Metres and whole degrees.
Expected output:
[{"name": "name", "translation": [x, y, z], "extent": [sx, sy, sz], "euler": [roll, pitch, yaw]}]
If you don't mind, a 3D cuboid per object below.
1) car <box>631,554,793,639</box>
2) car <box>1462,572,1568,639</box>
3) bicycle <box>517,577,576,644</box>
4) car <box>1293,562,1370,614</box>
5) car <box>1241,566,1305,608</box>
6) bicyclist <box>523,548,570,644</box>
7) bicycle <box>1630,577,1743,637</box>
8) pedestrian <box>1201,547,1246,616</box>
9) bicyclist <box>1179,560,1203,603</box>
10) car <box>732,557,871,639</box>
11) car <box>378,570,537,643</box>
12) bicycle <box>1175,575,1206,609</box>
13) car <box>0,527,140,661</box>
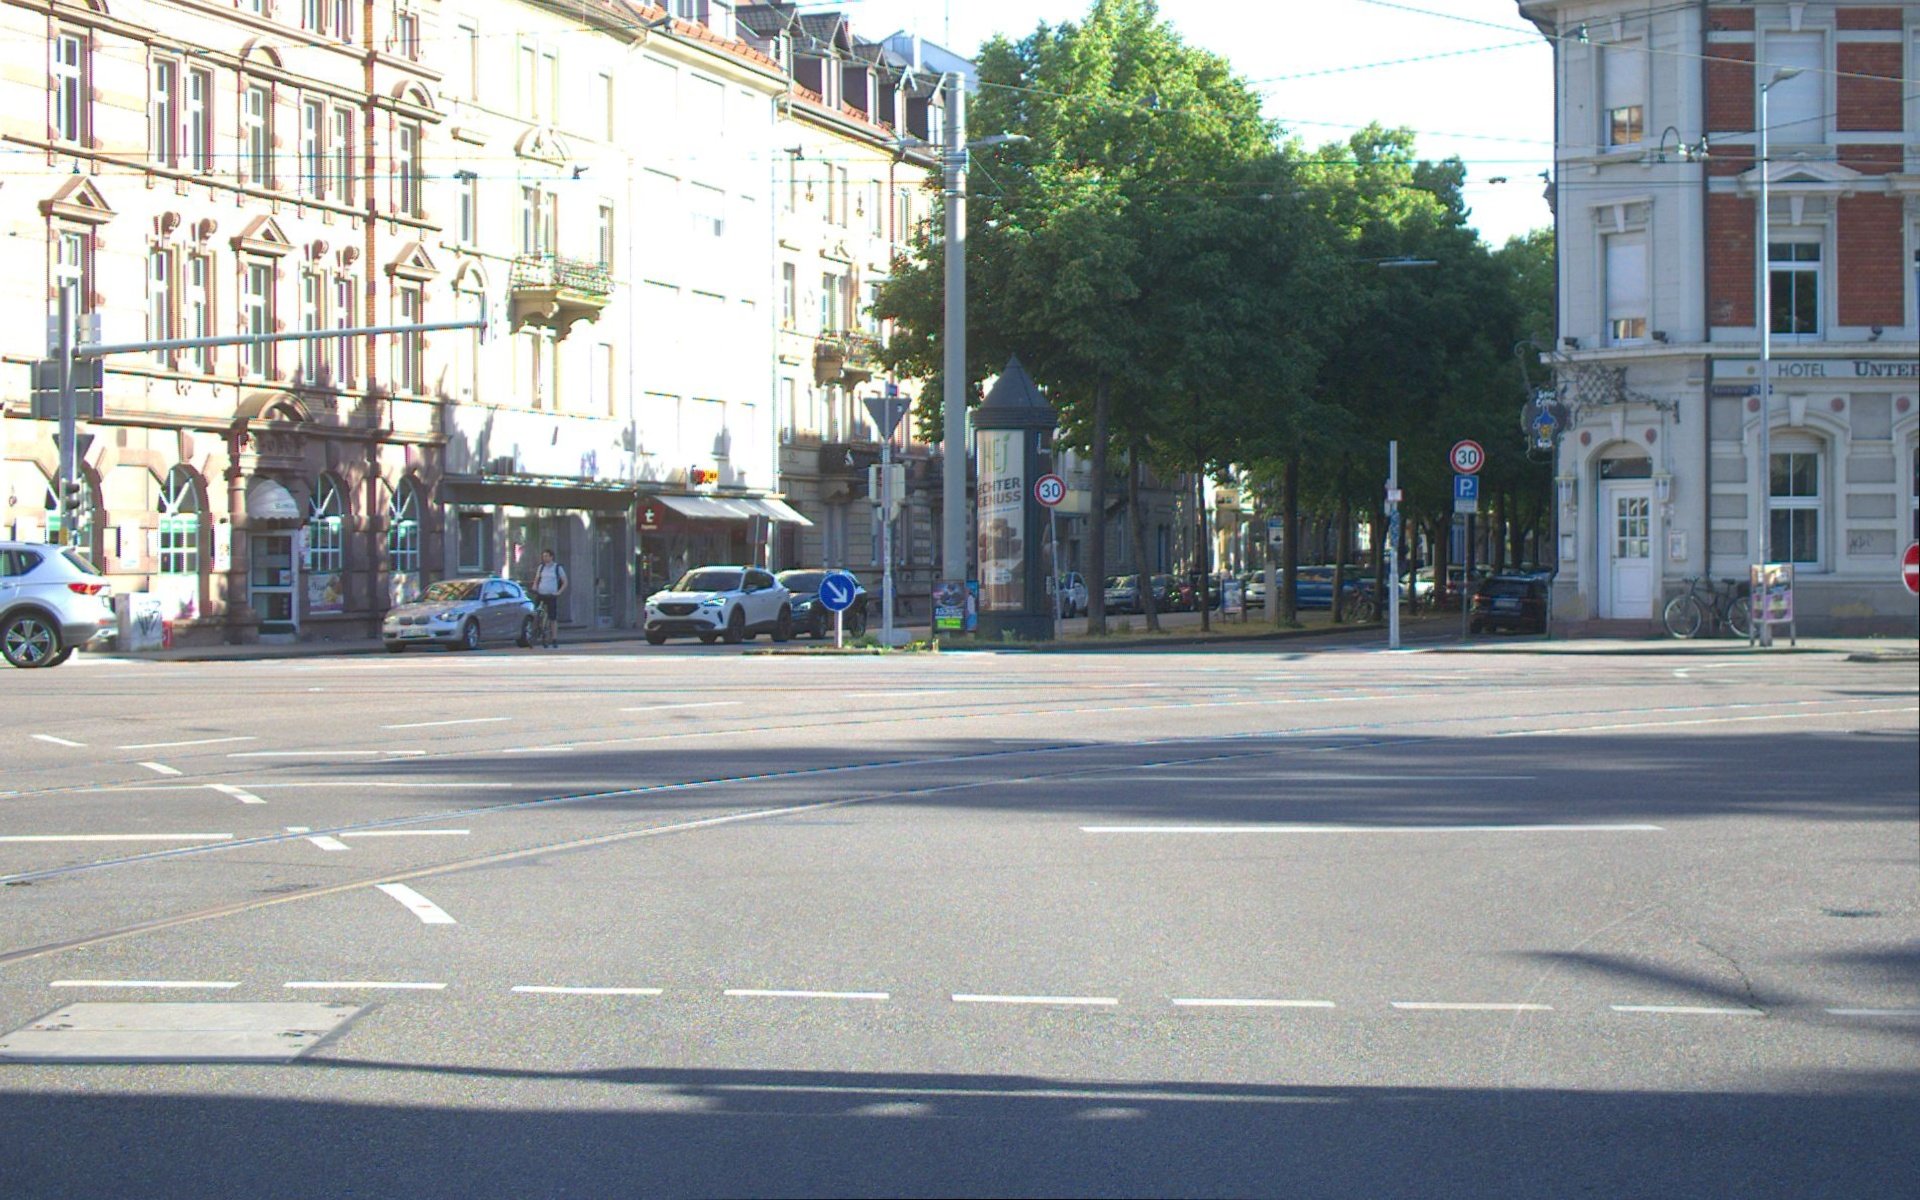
[{"name": "car", "translation": [-4.808, -0.086, 67.267], "extent": [1.804, 1.579, 4.156], "euler": [1, 1, 17]}, {"name": "car", "translation": [13.334, 0.112, 82.496], "extent": [1.758, 1.550, 3.996], "euler": [1, 1, 20]}, {"name": "bicycle", "translation": [-7.835, 0.195, 65.137], "extent": [0.565, 1.250, 1.556], "euler": [1, 0, 14]}, {"name": "car", "translation": [12.624, -0.412, 116.609], "extent": [1.995, 1.678, 3.997], "euler": [1, 1, 15]}, {"name": "car", "translation": [12.040, -0.506, 132.025], "extent": [1.804, 1.570, 3.888], "euler": [1, 1, 15]}, {"name": "bicyclist", "translation": [-7.838, -0.085, 65.142], "extent": [0.565, 1.797, 0.913], "euler": [1, 0, 15]}, {"name": "bicycle", "translation": [12.068, 0.108, 57.118], "extent": [1.804, 0.959, 0.603], "euler": [1, 0, 14]}, {"name": "pedestrian", "translation": [7.742, -0.537, 101.024], "extent": [0.961, 2.007, 0.918], "euler": [1, 0, -32]}, {"name": "bicyclist", "translation": [8.398, -0.673, 124.936], "extent": [0.674, 1.563, 0.747], "euler": [1, 0, 18]}, {"name": "car", "translation": [-3.362, -0.056, 73.613], "extent": [1.826, 1.679, 3.872], "euler": [1, 1, 16]}, {"name": "car", "translation": [-9.772, 0.106, 67.101], "extent": [1.661, 1.369, 3.889], "euler": [1, 1, 15]}, {"name": "bicycle", "translation": [8.384, -0.295, 124.906], "extent": [0.674, 1.203, 1.820], "euler": [1, 1, 18]}, {"name": "car", "translation": [-13.315, -0.106, 45.302], "extent": [4.673, 1.728, 1.837], "euler": [1, 0, -7]}]
